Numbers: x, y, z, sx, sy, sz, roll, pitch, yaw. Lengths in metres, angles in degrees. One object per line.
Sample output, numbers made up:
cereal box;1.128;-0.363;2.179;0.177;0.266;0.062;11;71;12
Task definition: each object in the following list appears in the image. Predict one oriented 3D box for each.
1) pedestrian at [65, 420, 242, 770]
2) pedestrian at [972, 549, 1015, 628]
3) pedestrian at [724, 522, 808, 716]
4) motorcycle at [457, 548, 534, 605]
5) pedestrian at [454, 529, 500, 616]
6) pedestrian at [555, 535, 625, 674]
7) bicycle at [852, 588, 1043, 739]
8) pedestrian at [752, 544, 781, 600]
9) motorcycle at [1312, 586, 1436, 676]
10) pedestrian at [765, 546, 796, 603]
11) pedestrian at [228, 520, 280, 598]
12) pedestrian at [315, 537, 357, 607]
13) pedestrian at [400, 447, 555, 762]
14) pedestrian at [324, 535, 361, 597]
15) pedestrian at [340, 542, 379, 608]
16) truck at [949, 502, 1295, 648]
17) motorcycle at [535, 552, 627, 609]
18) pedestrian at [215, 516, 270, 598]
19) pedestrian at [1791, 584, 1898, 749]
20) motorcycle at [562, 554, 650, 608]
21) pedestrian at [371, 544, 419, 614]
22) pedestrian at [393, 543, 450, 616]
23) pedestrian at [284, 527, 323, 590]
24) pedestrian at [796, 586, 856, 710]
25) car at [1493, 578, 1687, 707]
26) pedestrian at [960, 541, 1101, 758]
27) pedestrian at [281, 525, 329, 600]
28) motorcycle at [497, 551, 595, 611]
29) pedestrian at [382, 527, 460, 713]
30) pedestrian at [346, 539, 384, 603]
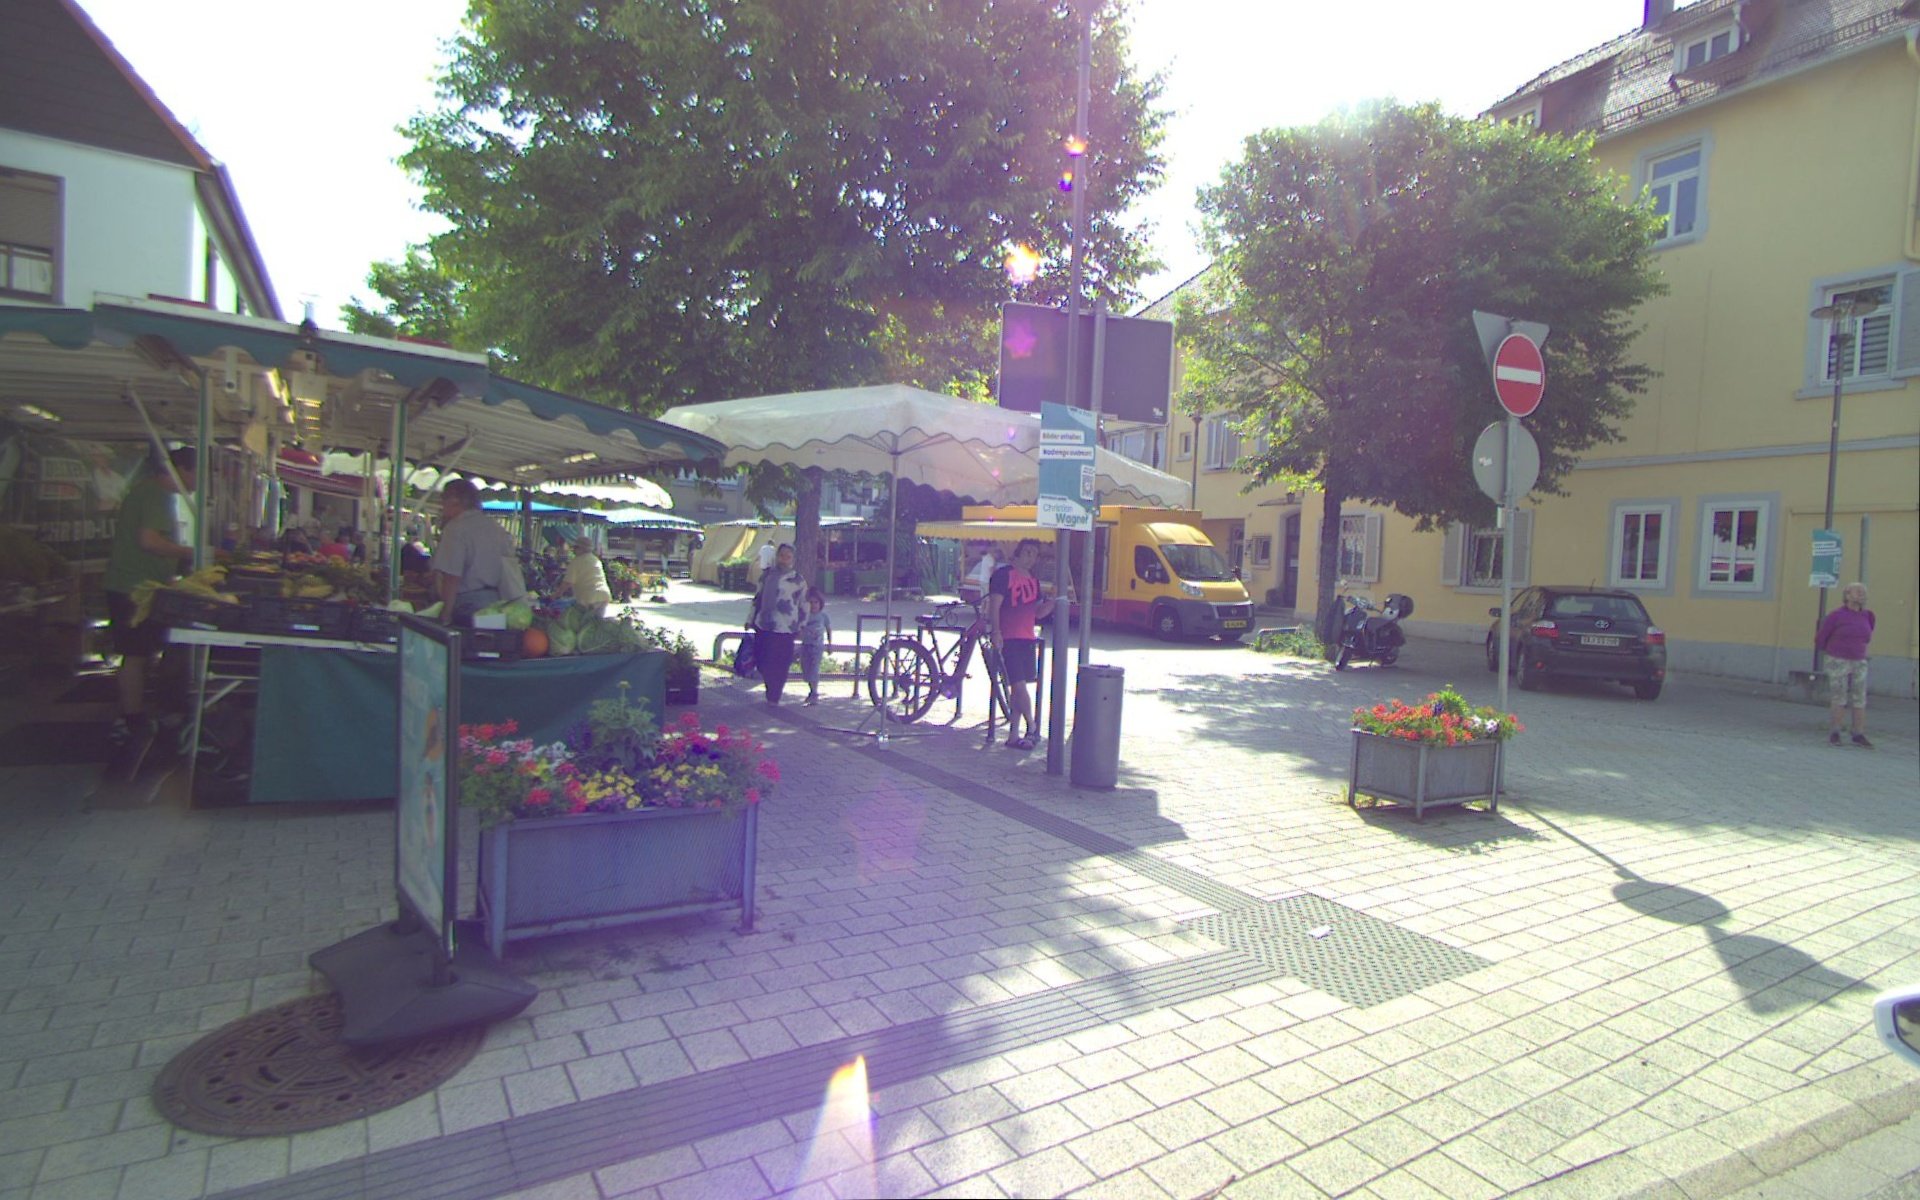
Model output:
pedestrian;-4.898;-0.028;6.136;0.499;1.997;0.706;2;1;-5
pedestrian;0.782;-0.284;23.542;0.676;1.811;0.718;-2;4;-41
pedestrian;-1.831;0.173;9.514;0.695;1.747;0.786;2;1;-11
motorcycle;-10.987;-0.556;23.782;1.516;1.211;0.638;5;0;-32
pedestrian;-9.167;-0.517;19.082;0.690;1.574;0.568;4;1;-26
pedestrian;-4.266;0.047;11.569;0.615;1.538;0.628;1;1;-31
bicycle;-0.073;0.541;9.332;0.609;1.251;1.850;3;2;45
pedestrian;-5.959;-0.853;30.893;0.574;1.704;0.678;2;3;41
motorcycle;6.912;0.477;16.748;2.065;1.379;0.880;-1;3;-34
pedestrian;-5.446;-0.781;30.481;0.574;1.704;0.678;5;4;41
pedestrian;-12.774;-0.741;18.184;0.619;1.348;0.694;4;1;-28
pedestrian;-11.389;-0.515;18.355;0.566;1.217;0.645;4;1;-31
pedestrian;-3.309;0.025;6.901;0.642;2.011;0.704;3;1;37
pedestrian;-12.661;-0.698;20.605;0.566;1.217;0.645;4;1;-31
pedestrian;-11.678;-0.494;19.554;0.566;1.217;0.645;4;1;-31
truck;3.308;-0.713;23.707;2.977;2.795;8.783;0;3;-32
motorcycle;-9.189;-0.474;24.418;1.975;1.211;0.641;5;0;-19
pedestrian;-12.376;-0.736;17.348;0.619;1.348;0.694;4;1;-28
pedestrian;9.748;0.705;11.096;0.667;1.738;0.616;3;2;27
motorcycle;-8.992;-0.488;25.552;1.965;1.211;0.644;5;0;10
pedestrian;-10.310;-0.386;18.321;0.568;1.217;0.642;4;1;-42
pedestrian;-9.495;-0.363;17.720;0.564;1.217;0.695;5;1;45
pedestrian;-13.445;-0.853;20.594;0.566;1.217;0.645;4;1;-31
pedestrian;-1.334;0.463;9.956;0.507;1.176;0.620;2;1;-12
car;9.403;0.511;15.343;1.887;1.564;3.955;3;3;24
pedestrian;0.573;0.402;8.233;0.871;1.680;0.569;4;1;-22
pedestrian;-12.373;-0.714;18.999;0.619;1.348;0.694;4;1;-28
motorcycle;-9.618;-0.444;23.399;1.975;1.211;0.641;5;1;-19
pedestrian;-5.011;0.173;9.325;0.517;1.648;0.700;1;1;-36
pedestrian;-11.941;-0.584;20.166;0.566;1.217;0.645;4;1;-31
